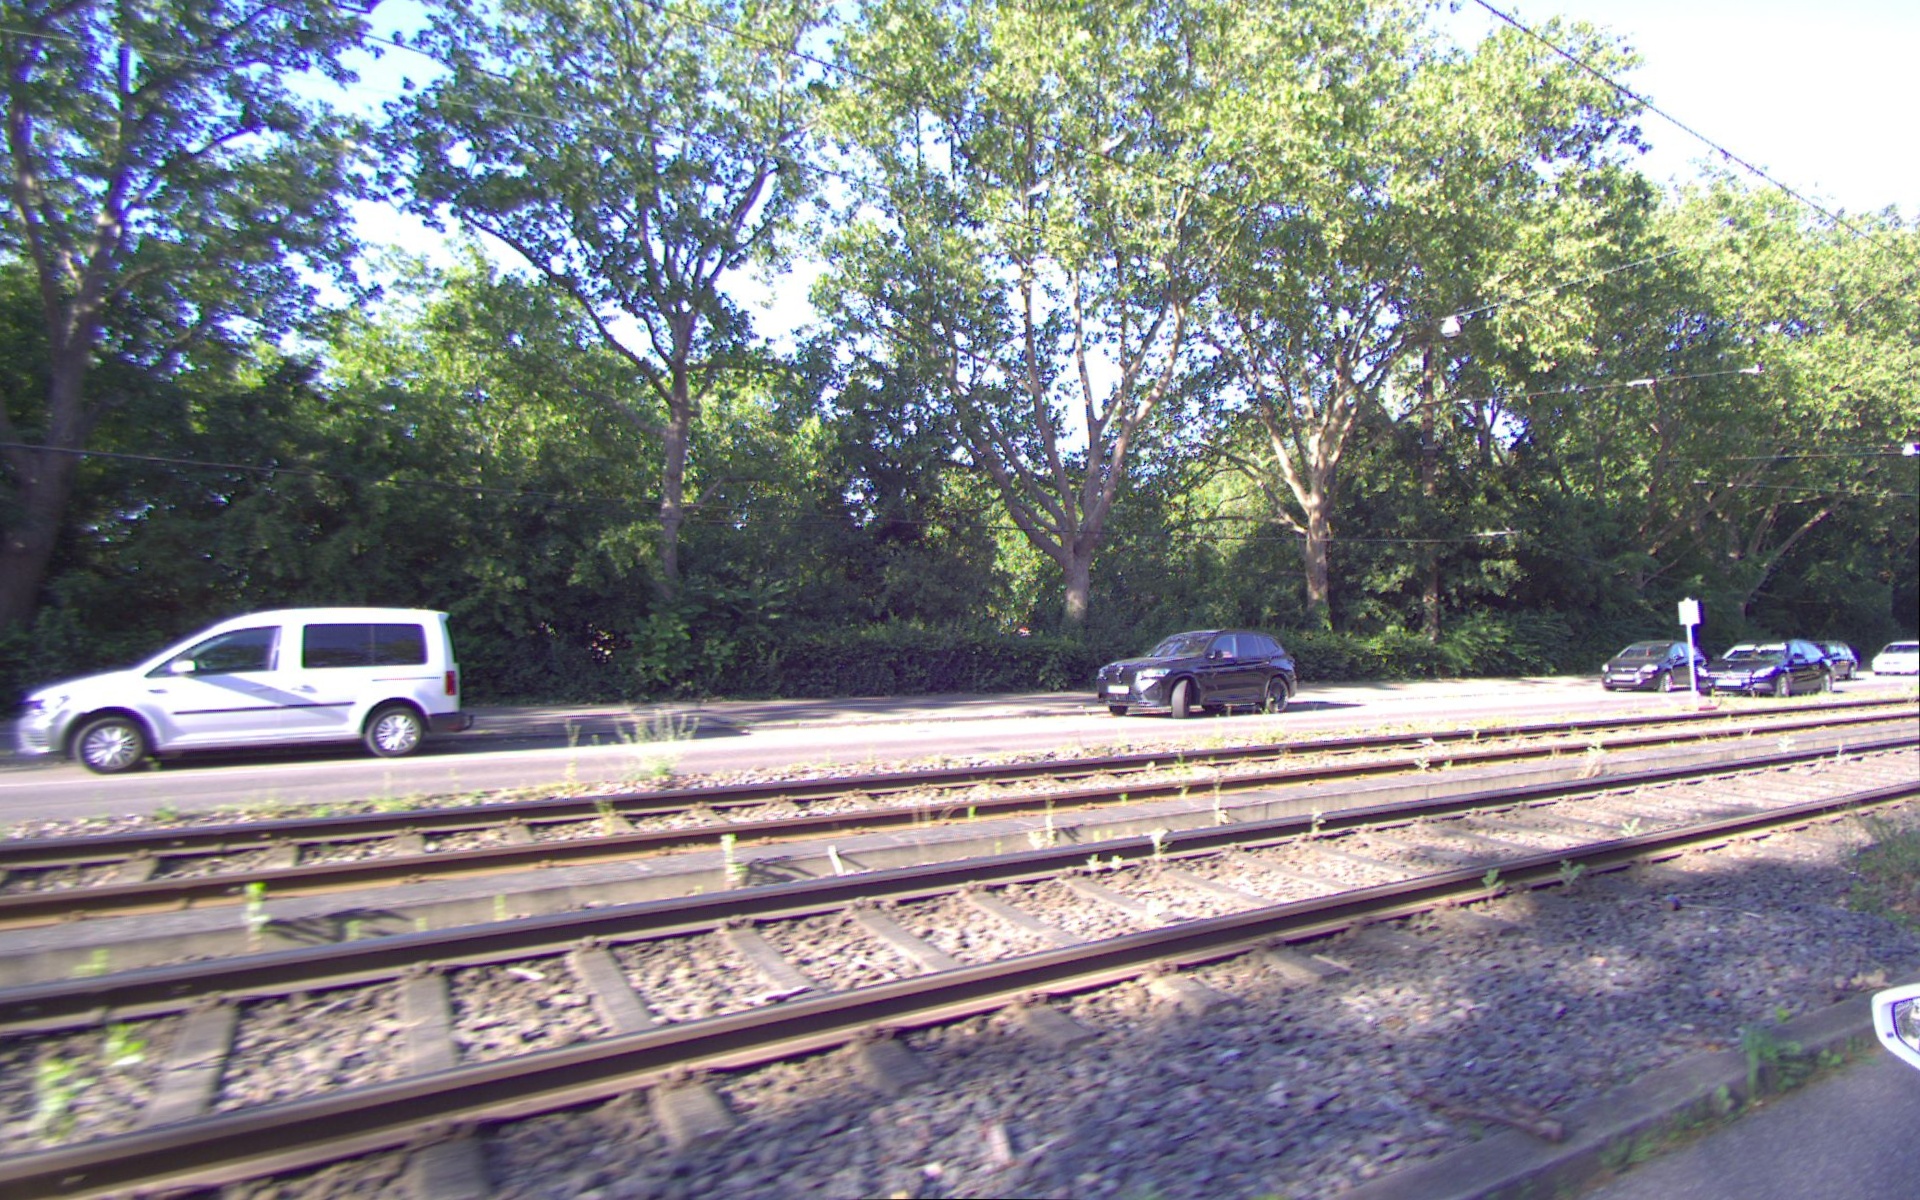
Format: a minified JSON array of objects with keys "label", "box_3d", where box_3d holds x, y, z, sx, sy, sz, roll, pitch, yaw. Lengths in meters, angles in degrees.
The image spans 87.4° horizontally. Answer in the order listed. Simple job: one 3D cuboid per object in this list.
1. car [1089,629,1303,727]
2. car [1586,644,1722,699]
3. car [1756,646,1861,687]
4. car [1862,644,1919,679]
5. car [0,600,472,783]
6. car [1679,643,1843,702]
[{"label":"car","box_3d":[4.773,1.506,20.088,4.354,1.741,1.814,2,-4,-37]},{"label":"car","box_3d":[20.859,2.111,30.154,4.348,1.525,1.817,2,-4,-33]},{"label":"car","box_3d":[31.638,2.439,37.442,4.278,1.455,1.817,2,-4,-33]},{"label":"car","box_3d":[41.000,2.637,43.651,3.811,1.455,1.729,2,-4,-33]},{"label":"car","box_3d":[-8.452,1.030,12.194,4.348,1.864,1.817,2,-4,-33]},{"label":"car","box_3d":[21.059,1.868,26.362,4.697,1.433,1.910,2,-4,-32]}]
